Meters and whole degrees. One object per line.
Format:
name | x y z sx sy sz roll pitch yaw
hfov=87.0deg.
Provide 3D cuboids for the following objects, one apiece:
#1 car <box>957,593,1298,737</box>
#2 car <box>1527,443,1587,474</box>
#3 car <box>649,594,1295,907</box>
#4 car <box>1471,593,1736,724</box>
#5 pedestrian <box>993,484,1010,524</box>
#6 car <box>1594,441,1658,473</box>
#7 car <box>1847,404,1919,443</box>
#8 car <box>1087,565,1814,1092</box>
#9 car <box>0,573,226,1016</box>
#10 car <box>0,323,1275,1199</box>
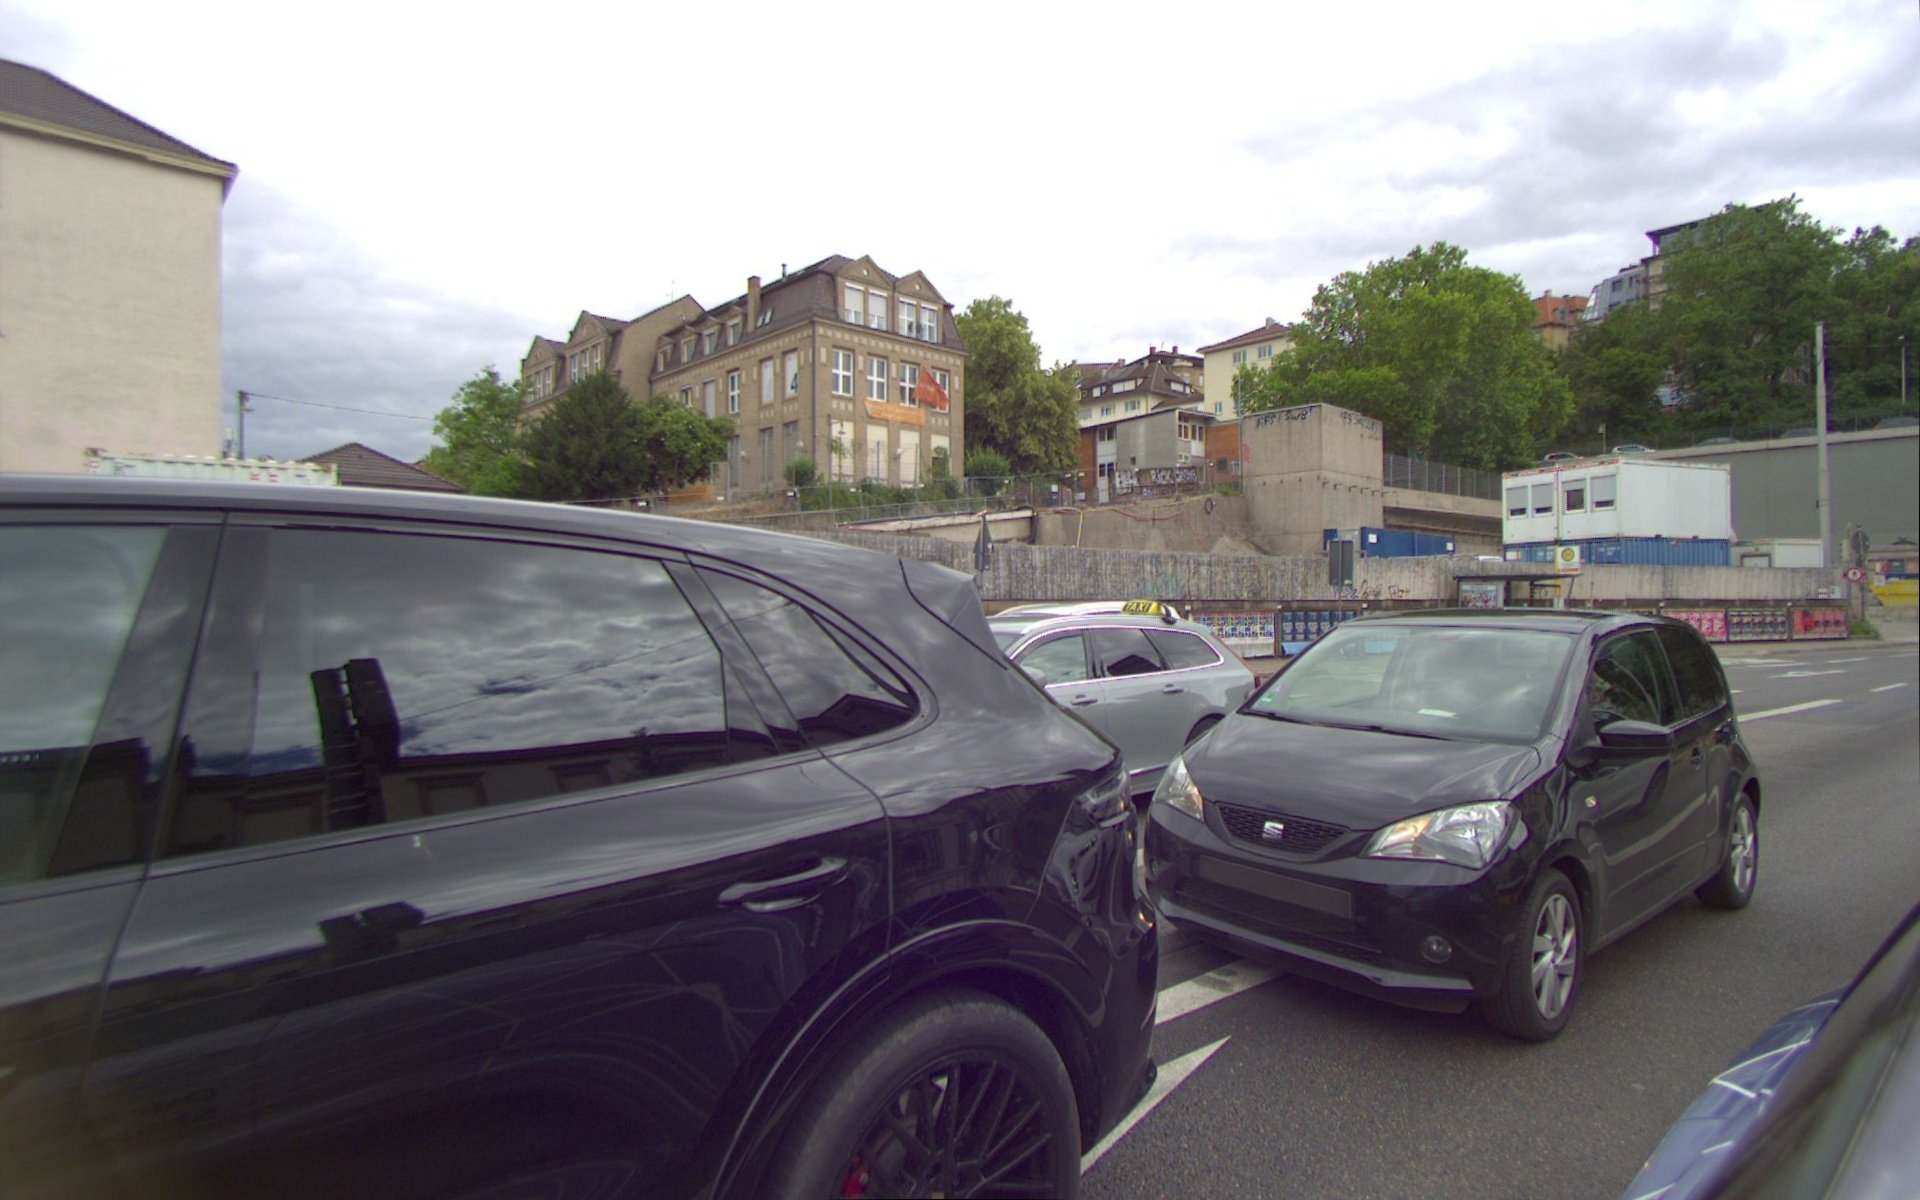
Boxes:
car | 2.279 0.710 13.184 4.464 1.579 1.706 0 0 -35
car | 50.242 -11.906 85.233 3.988 2.039 1.968 0 1 45
car | 0.312 0.763 7.332 4.570 1.591 1.826 0 0 -39
car | 9.192 0.711 14.330 4.466 1.579 1.705 0 0 -37
pedestrian | 2.183 -5.092 53.638 0.656 2.039 0.644 0 0 -45
car | 53.558 -11.499 81.444 3.988 2.039 1.968 0 1 45
car | 64.148 -12.182 70.054 1.966 2.039 3.991 0 1 -43
car | 2.523 0.662 4.789 3.812 1.515 1.667 0 -1 -40
car | -4.888 0.695 3.421 3.812 1.563 1.667 0 -1 -40
car | -1.626 0.586 1.703 4.552 1.707 1.959 0 -1 -40
